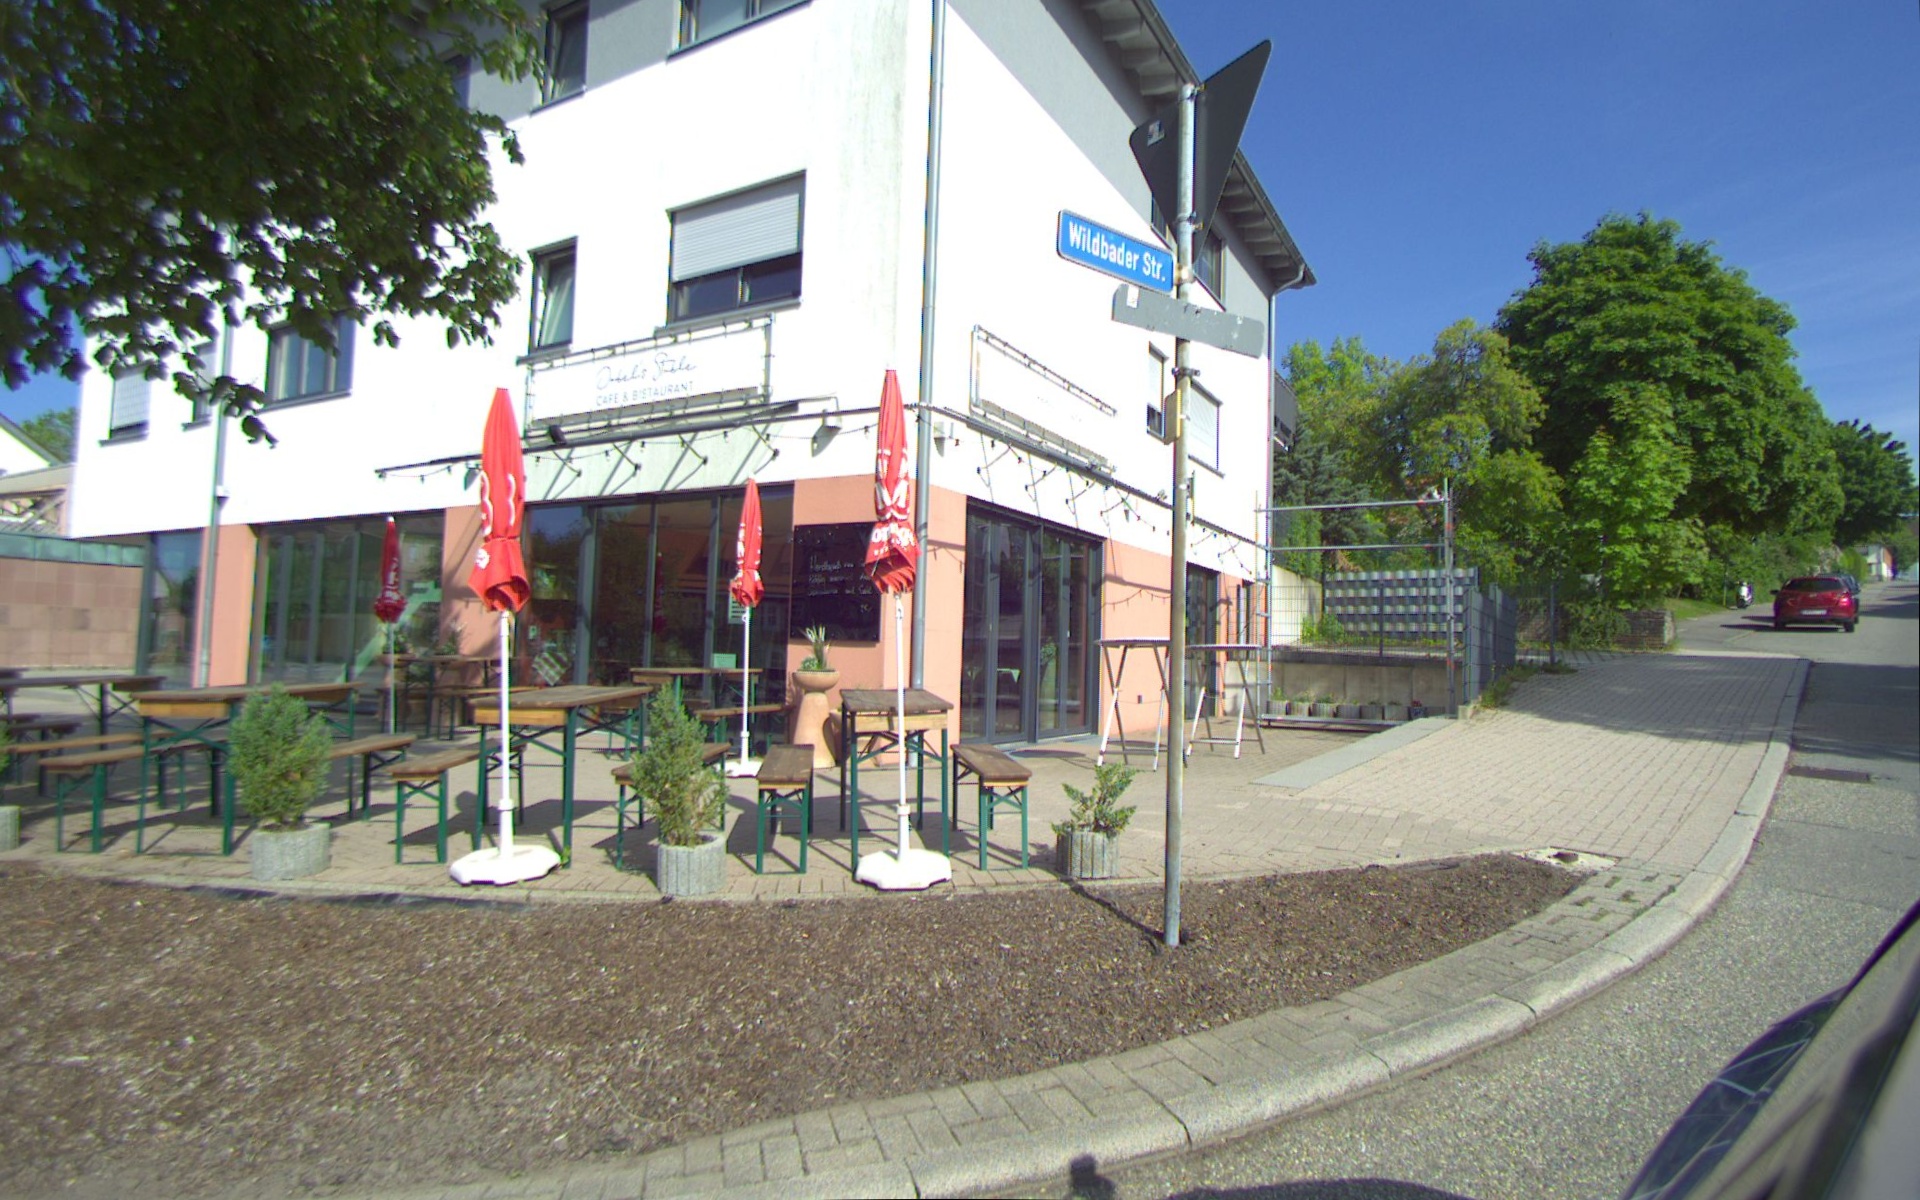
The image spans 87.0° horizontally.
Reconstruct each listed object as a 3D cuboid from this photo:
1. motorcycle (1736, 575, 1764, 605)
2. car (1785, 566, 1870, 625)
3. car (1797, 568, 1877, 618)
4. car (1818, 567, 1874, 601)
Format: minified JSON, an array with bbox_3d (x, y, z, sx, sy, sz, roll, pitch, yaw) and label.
[{"bbox_3d":[31.861,-0.410,40.814,0.782,1.196,2.156,0,1,41],"label":"motorcycle"},{"bbox_3d":[23.906,-0.146,27.851,1.619,1.517,3.752,0,1,43],"label":"car"},{"bbox_3d":[27.696,-0.246,31.934,1.770,1.489,3.752,0,1,43],"label":"car"},{"bbox_3d":[39.880,-0.716,45.519,1.770,1.489,3.752,0,1,43],"label":"car"}]
